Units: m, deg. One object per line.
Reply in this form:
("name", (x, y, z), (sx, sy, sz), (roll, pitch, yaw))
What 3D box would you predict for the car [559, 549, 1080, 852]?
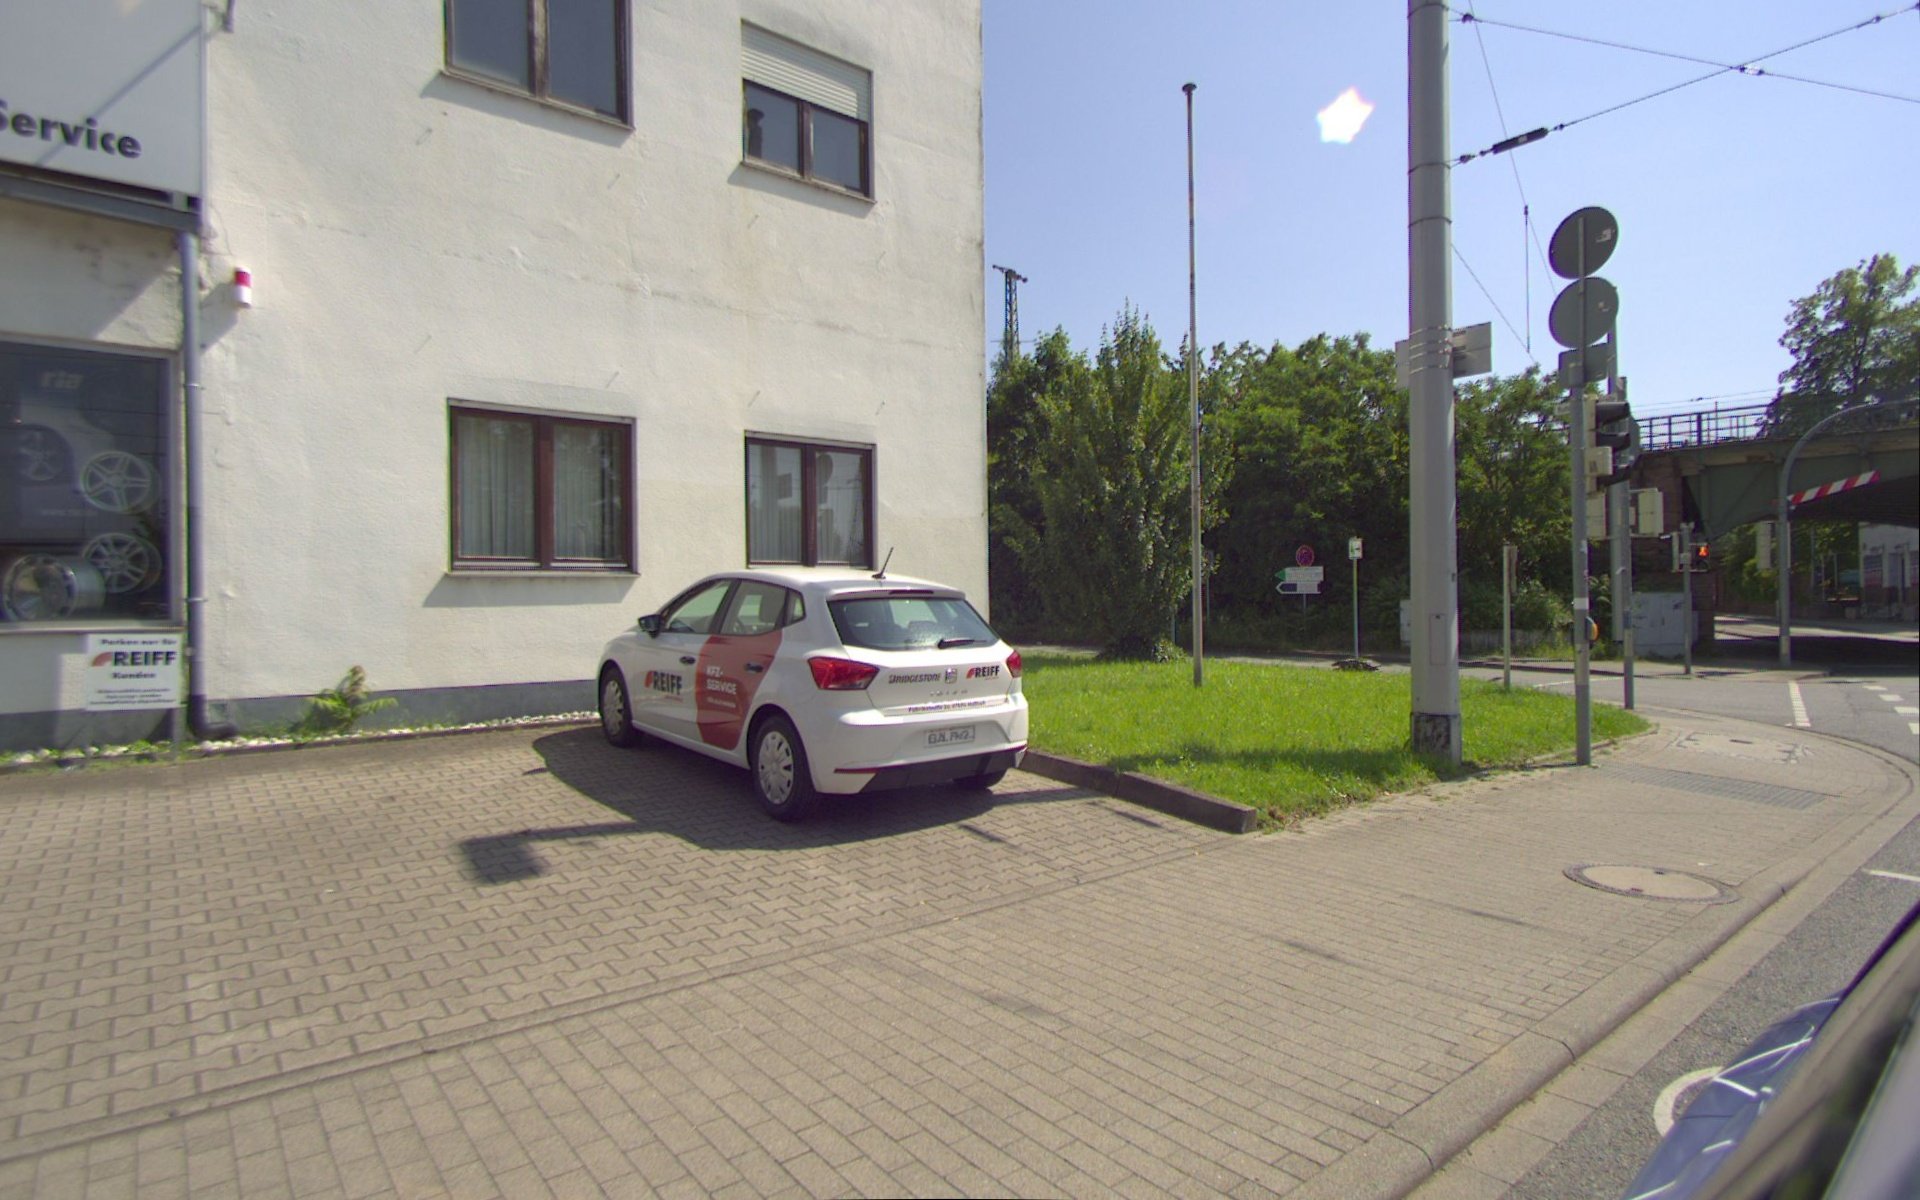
("car", (-1.256, 0.437, 7.316), (1.857, 1.480, 3.996), (0, 3, -41))
